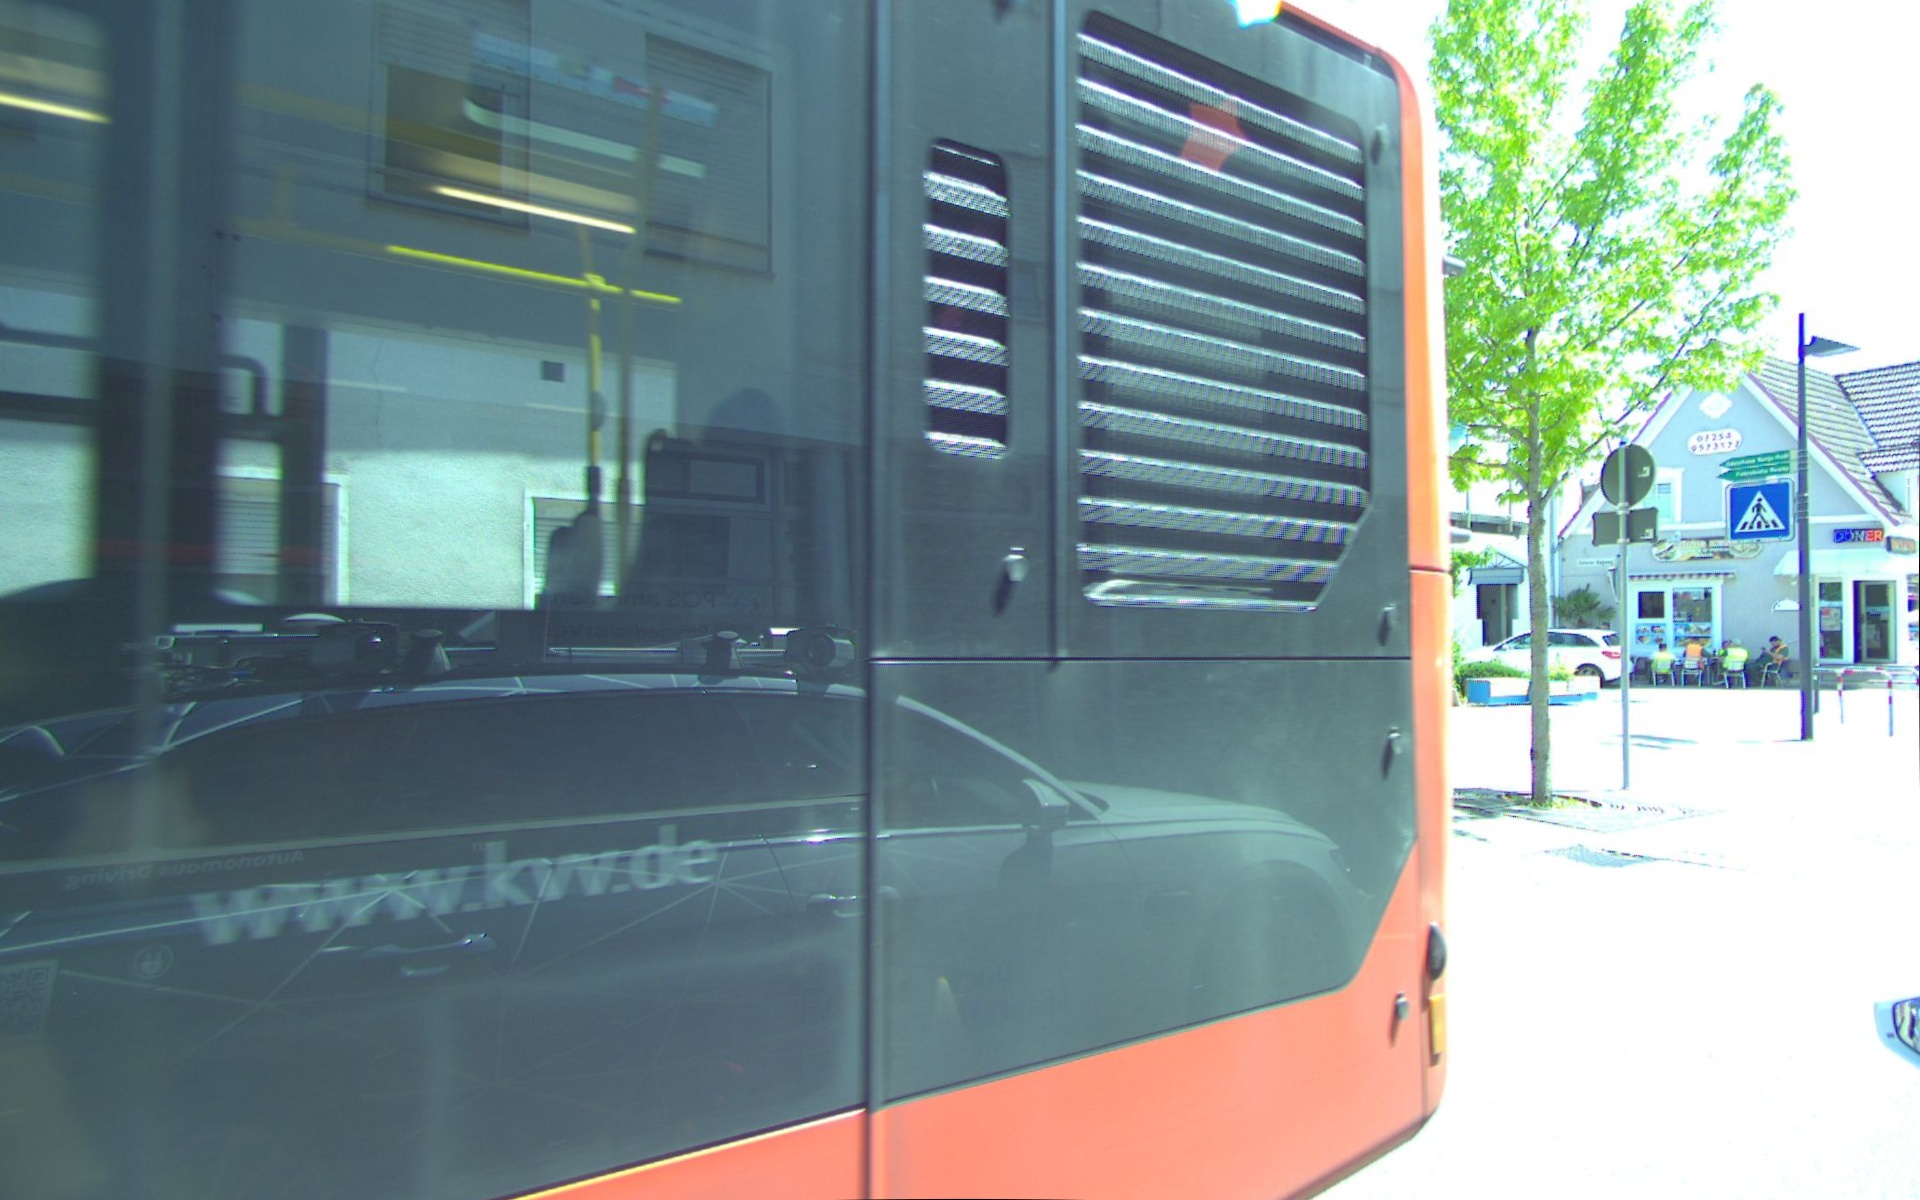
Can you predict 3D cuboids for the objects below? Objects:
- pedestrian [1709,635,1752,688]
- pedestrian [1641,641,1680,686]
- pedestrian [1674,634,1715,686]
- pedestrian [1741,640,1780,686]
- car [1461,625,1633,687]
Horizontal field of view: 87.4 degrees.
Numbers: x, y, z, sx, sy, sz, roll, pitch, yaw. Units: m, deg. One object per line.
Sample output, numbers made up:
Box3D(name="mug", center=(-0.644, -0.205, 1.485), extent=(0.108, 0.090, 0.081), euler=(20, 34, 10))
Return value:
Box3D(name="pedestrian", center=(19.889, 1.576, 25.937), extent=(0.623, 1.306, 0.789), euler=(2, 0, 17))
Box3D(name="pedestrian", center=(18.738, 1.695, 26.879), extent=(0.623, 1.131, 0.789), euler=(2, 0, 17))
Box3D(name="pedestrian", center=(19.612, 1.594, 26.849), extent=(0.623, 1.306, 0.789), euler=(2, 0, 17))
Box3D(name="pedestrian", center=(20.918, 1.636, 26.254), extent=(0.689, 1.194, 0.618), euler=(1, -2, -34))
Box3D(name="car", center=(16.276, 1.528, 27.976), extent=(3.875, 1.566, 1.509), euler=(-2, -1, 44))
